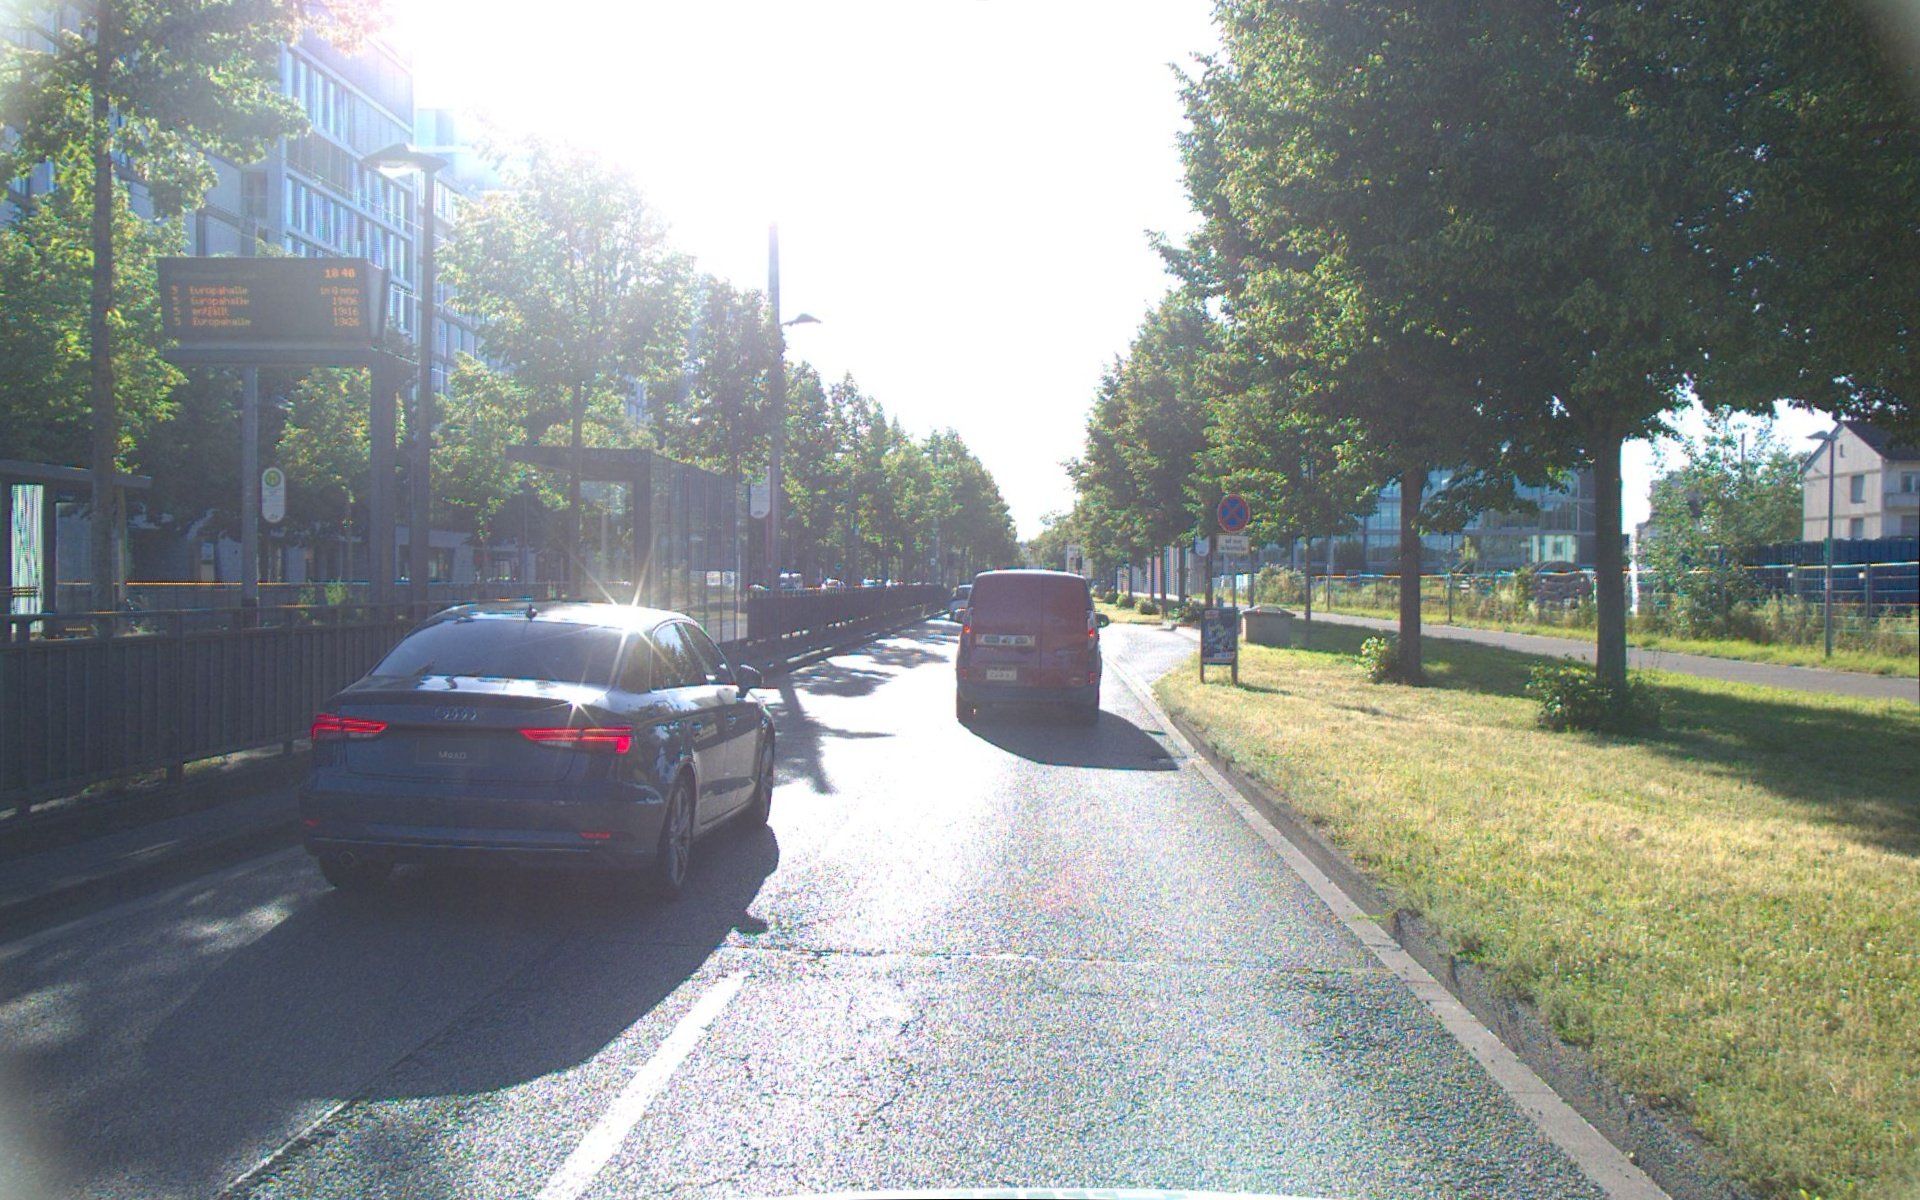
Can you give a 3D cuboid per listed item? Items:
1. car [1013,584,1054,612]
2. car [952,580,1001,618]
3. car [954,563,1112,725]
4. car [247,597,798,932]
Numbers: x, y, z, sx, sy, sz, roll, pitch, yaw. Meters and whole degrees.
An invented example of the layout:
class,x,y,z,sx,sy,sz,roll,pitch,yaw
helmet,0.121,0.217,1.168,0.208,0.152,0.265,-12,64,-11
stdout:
class,x,y,z,sx,sy,sz,roll,pitch,yaw
car,3.674,-0.112,82.983,1.902,1.371,4.000,0,0,1
car,0.675,-0.062,66.705,1.902,1.466,4.000,0,0,1
car,0.859,0.488,21.006,1.761,1.808,4.000,2,1,1
car,-2.067,0.722,9.100,1.685,1.390,4.147,1,-1,4
